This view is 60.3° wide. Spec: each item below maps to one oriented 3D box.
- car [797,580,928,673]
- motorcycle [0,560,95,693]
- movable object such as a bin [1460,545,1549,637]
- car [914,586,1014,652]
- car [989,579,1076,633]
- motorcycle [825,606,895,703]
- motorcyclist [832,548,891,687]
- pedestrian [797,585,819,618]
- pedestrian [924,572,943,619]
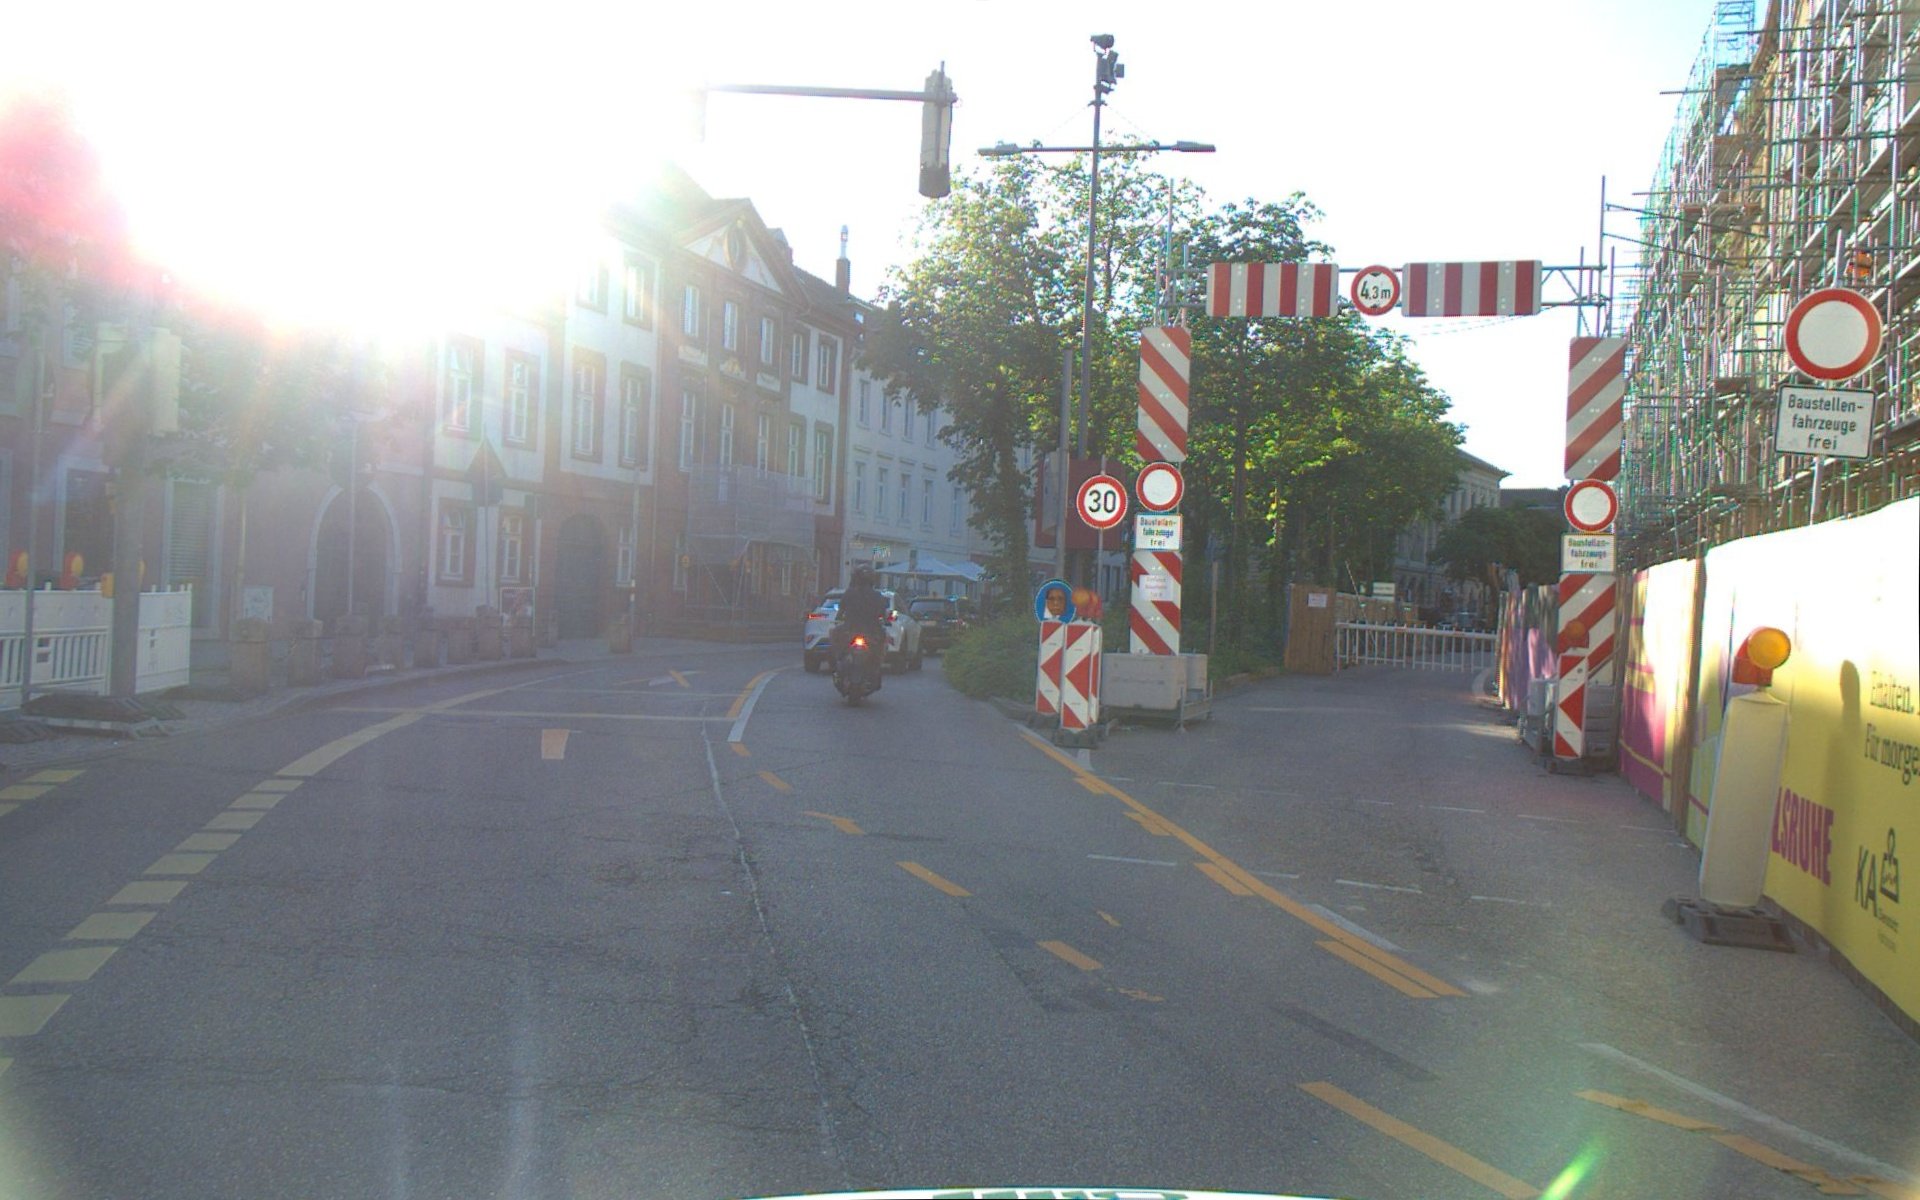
[{"bbox_3d":[-1.707,0.437,30.337,1.812,1.506,4.060,3,0,4],"label":"car"},{"bbox_3d":[-9.986,0.254,17.042,0.795,1.340,2.338,1,0,3],"label":"motorcycle"},{"bbox_3d":[28.739,-0.433,87.083,3.243,4.619,7.895,1,0,27],"label":"movable object such as a bin"},{"bbox_3d":[0.150,0.446,41.462,1.801,1.489,4.061,3,0,10],"label":"car"},{"bbox_3d":[2.580,0.204,57.860,1.802,1.743,4.058,3,0,20],"label":"car"},{"bbox_3d":[-1.226,0.651,20.487,0.781,1.084,1.724,3,0,-3],"label":"motorcycle"},{"bbox_3d":[-1.226,0.215,20.670,0.644,1.679,0.650,3,0,-3],"label":"motorcyclist"},{"bbox_3d":[-5.072,0.042,55.035,0.525,1.071,0.552,3,0,15],"label":"pedestrian"},{"bbox_3d":[-1.037,-0.182,64.875,0.430,1.806,0.596,1,0,32],"label":"pedestrian"}]
